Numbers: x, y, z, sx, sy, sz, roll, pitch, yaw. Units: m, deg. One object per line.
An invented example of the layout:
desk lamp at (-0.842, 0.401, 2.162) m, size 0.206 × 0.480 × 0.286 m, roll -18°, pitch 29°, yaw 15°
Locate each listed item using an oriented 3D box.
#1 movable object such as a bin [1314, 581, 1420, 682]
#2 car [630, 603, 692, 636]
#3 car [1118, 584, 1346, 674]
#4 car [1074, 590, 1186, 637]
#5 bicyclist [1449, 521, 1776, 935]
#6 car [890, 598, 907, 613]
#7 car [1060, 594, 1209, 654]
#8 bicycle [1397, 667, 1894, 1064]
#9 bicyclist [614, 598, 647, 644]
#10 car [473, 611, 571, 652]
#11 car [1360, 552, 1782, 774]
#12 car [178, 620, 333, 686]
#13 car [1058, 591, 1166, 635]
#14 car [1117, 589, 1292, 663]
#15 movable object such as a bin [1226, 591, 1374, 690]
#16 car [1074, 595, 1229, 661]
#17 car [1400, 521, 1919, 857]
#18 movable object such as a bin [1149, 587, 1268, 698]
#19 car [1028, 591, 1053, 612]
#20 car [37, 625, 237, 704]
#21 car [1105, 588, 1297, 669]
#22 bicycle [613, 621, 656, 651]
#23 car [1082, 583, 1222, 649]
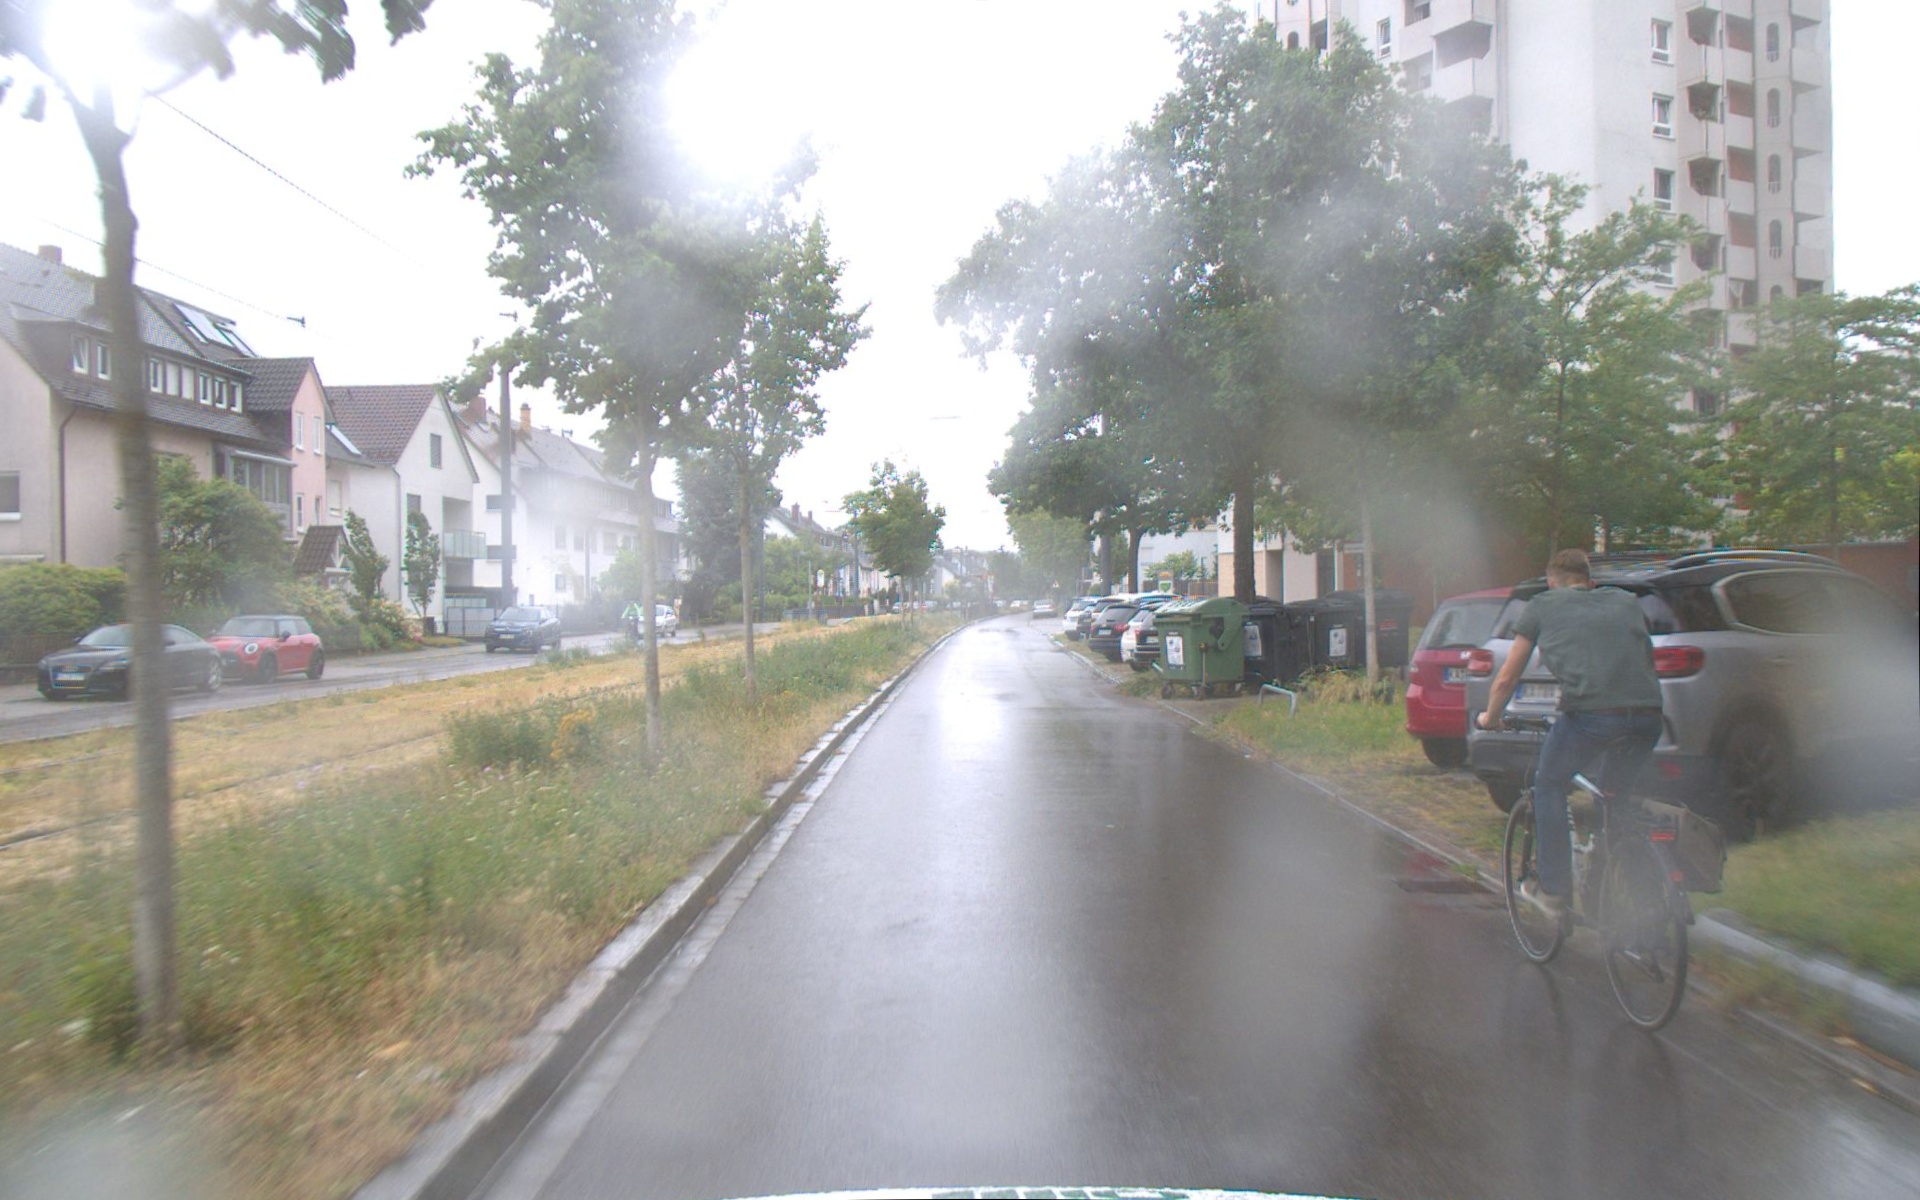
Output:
movable object such as a bin at (6.544, 0.493, 26.624) m, size 1.229 × 1.546 × 1.079 m, roll -2°, pitch 0°, yaw -27°
car at (-14.240, 0.906, 79.051) m, size 1.857 × 1.495 × 4.689 m, roll 1°, pitch 0°, yaw 3°
car at (5.233, 0.512, 31.635) m, size 4.178 × 1.545 × 1.855 m, roll -2°, pitch 0°, yaw -35°
car at (6.089, 0.467, 59.014) m, size 3.997 × 1.567 × 1.565 m, roll -2°, pitch 0°, yaw -37°
bicyclist at (2.499, 0.456, 6.462) m, size 0.793 × 1.458 × 1.059 m, roll -2°, pitch 0°, yaw -3°
car at (-7.370, 0.674, 197.792) m, size 1.805 × 1.701 × 4.000 m, roll -1°, pitch 0°, yaw 0°
car at (4.703, 0.628, 44.371) m, size 3.997 × 1.468 × 1.565 m, roll -2°, pitch 0°, yaw -37°
bicycle at (2.508, 0.890, 6.497) m, size 0.793 × 1.116 × 2.516 m, roll -2°, pitch 0°, yaw -2°
bicyclist at (-12.638, 0.813, 63.525) m, size 0.997 × 1.715 × 1.092 m, roll -1°, pitch 0°, yaw 0°
car at (-14.932, 1.034, 56.671) m, size 1.857 × 1.266 × 4.689 m, roll 1°, pitch 0°, yaw 3°
car at (5.539, 0.475, 14.834) m, size 3.845 × 1.594 × 1.710 m, roll -4°, pitch 1°, yaw -37°
car at (-15.214, 1.107, 35.947) m, size 1.640 × 1.266 × 3.855 m, roll 1°, pitch 0°, yaw 1°
car at (5.702, 0.480, 61.931) m, size 3.997 × 1.539 × 1.565 m, roll -2°, pitch 0°, yaw -37°
car at (5.648, 0.565, 38.002) m, size 3.993 × 1.545 × 1.566 m, roll -2°, pitch 0°, yaw -35°
movable object such as a bin at (5.129, 0.591, 25.004) m, size 1.657 × 1.349 × 1.392 m, roll -4°, pitch 1°, yaw -21°
car at (4.728, 0.652, 40.497) m, size 4.010 × 1.468 × 1.560 m, roll -2°, pitch 0°, yaw -44°
car at (5.184, 0.440, 11.171) m, size 4.096 × 1.749 × 1.978 m, roll -4°, pitch 2°, yaw -32°
movable object such as a bin at (3.699, 0.617, 24.723) m, size 1.110 × 1.482 × 1.392 m, roll -7°, pitch 2°, yaw -21°
car at (6.430, 0.125, 131.999) m, size 1.795 × 1.614 × 4.000 m, roll -1°, pitch 0°, yaw 0°
car at (-15.189, 1.145, 30.761) m, size 1.629 × 1.266 × 4.071 m, roll 1°, pitch 0°, yaw 0°
car at (5.108, 0.575, 34.863) m, size 3.993 × 1.545 × 1.566 m, roll -2°, pitch 0°, yaw -35°
bicycle at (-12.599, 1.384, 64.126) m, size 0.997 × 1.045 × 3.197 m, roll -1°, pitch 0°, yaw 0°
car at (5.512, 0.435, 47.360) m, size 3.997 × 1.733 × 1.565 m, roll -2°, pitch 0°, yaw -37°
